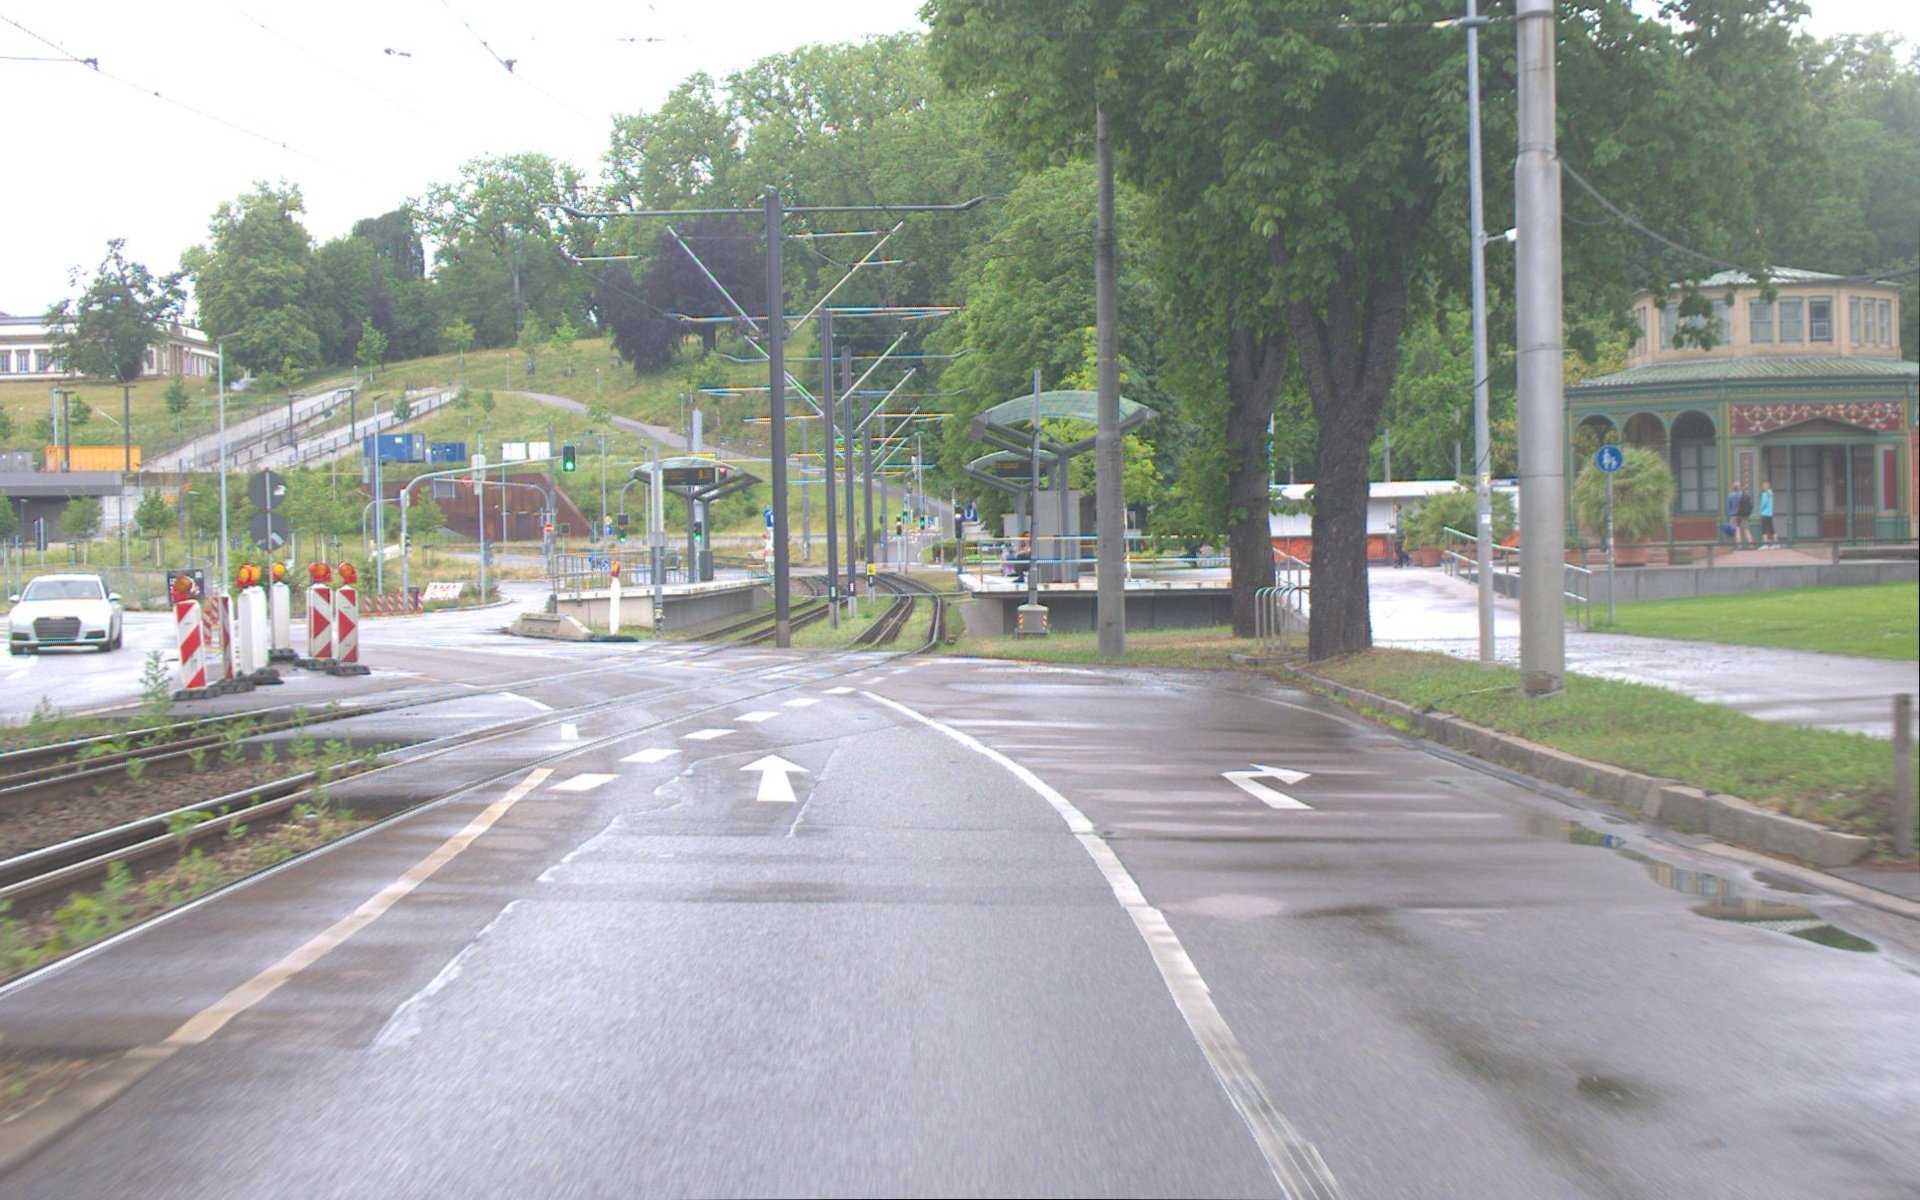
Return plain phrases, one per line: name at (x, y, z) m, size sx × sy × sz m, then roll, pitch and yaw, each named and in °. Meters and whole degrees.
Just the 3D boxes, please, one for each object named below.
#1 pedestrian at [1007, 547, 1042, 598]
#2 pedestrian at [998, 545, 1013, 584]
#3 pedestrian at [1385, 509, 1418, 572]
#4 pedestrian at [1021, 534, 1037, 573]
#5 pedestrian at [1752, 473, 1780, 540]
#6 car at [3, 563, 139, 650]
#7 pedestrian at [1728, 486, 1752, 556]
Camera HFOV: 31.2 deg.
pedestrian at (1.464, -0.619, 77.853) m, size 0.600 × 1.115 × 0.520 m, roll 3°, pitch -1°, yaw -16°
pedestrian at (1.419, -1.115, 107.472) m, size 0.437 × 1.222 × 0.551 m, roll -2°, pitch 0°, yaw 0°
pedestrian at (12.716, -1.721, 99.101) m, size 0.720 × 1.784 × 1.182 m, roll -3°, pitch 1°, yaw 0°
pedestrian at (2.168, -1.462, 107.873) m, size 0.437 × 1.222 × 0.551 m, roll -2°, pitch 0°, yaw 0°
pedestrian at (19.977, -2.316, 85.194) m, size 0.551 × 1.651 × 0.468 m, roll 0°, pitch 0°, yaw 34°
car at (-16.552, 0.090, 64.201) m, size 1.708 × 1.493 × 4.721 m, roll -2°, pitch 1°, yaw -6°
pedestrian at (19.454, -1.964, 85.773) m, size 0.531 × 1.705 × 0.695 m, roll 1°, pitch -1°, yaw 11°
